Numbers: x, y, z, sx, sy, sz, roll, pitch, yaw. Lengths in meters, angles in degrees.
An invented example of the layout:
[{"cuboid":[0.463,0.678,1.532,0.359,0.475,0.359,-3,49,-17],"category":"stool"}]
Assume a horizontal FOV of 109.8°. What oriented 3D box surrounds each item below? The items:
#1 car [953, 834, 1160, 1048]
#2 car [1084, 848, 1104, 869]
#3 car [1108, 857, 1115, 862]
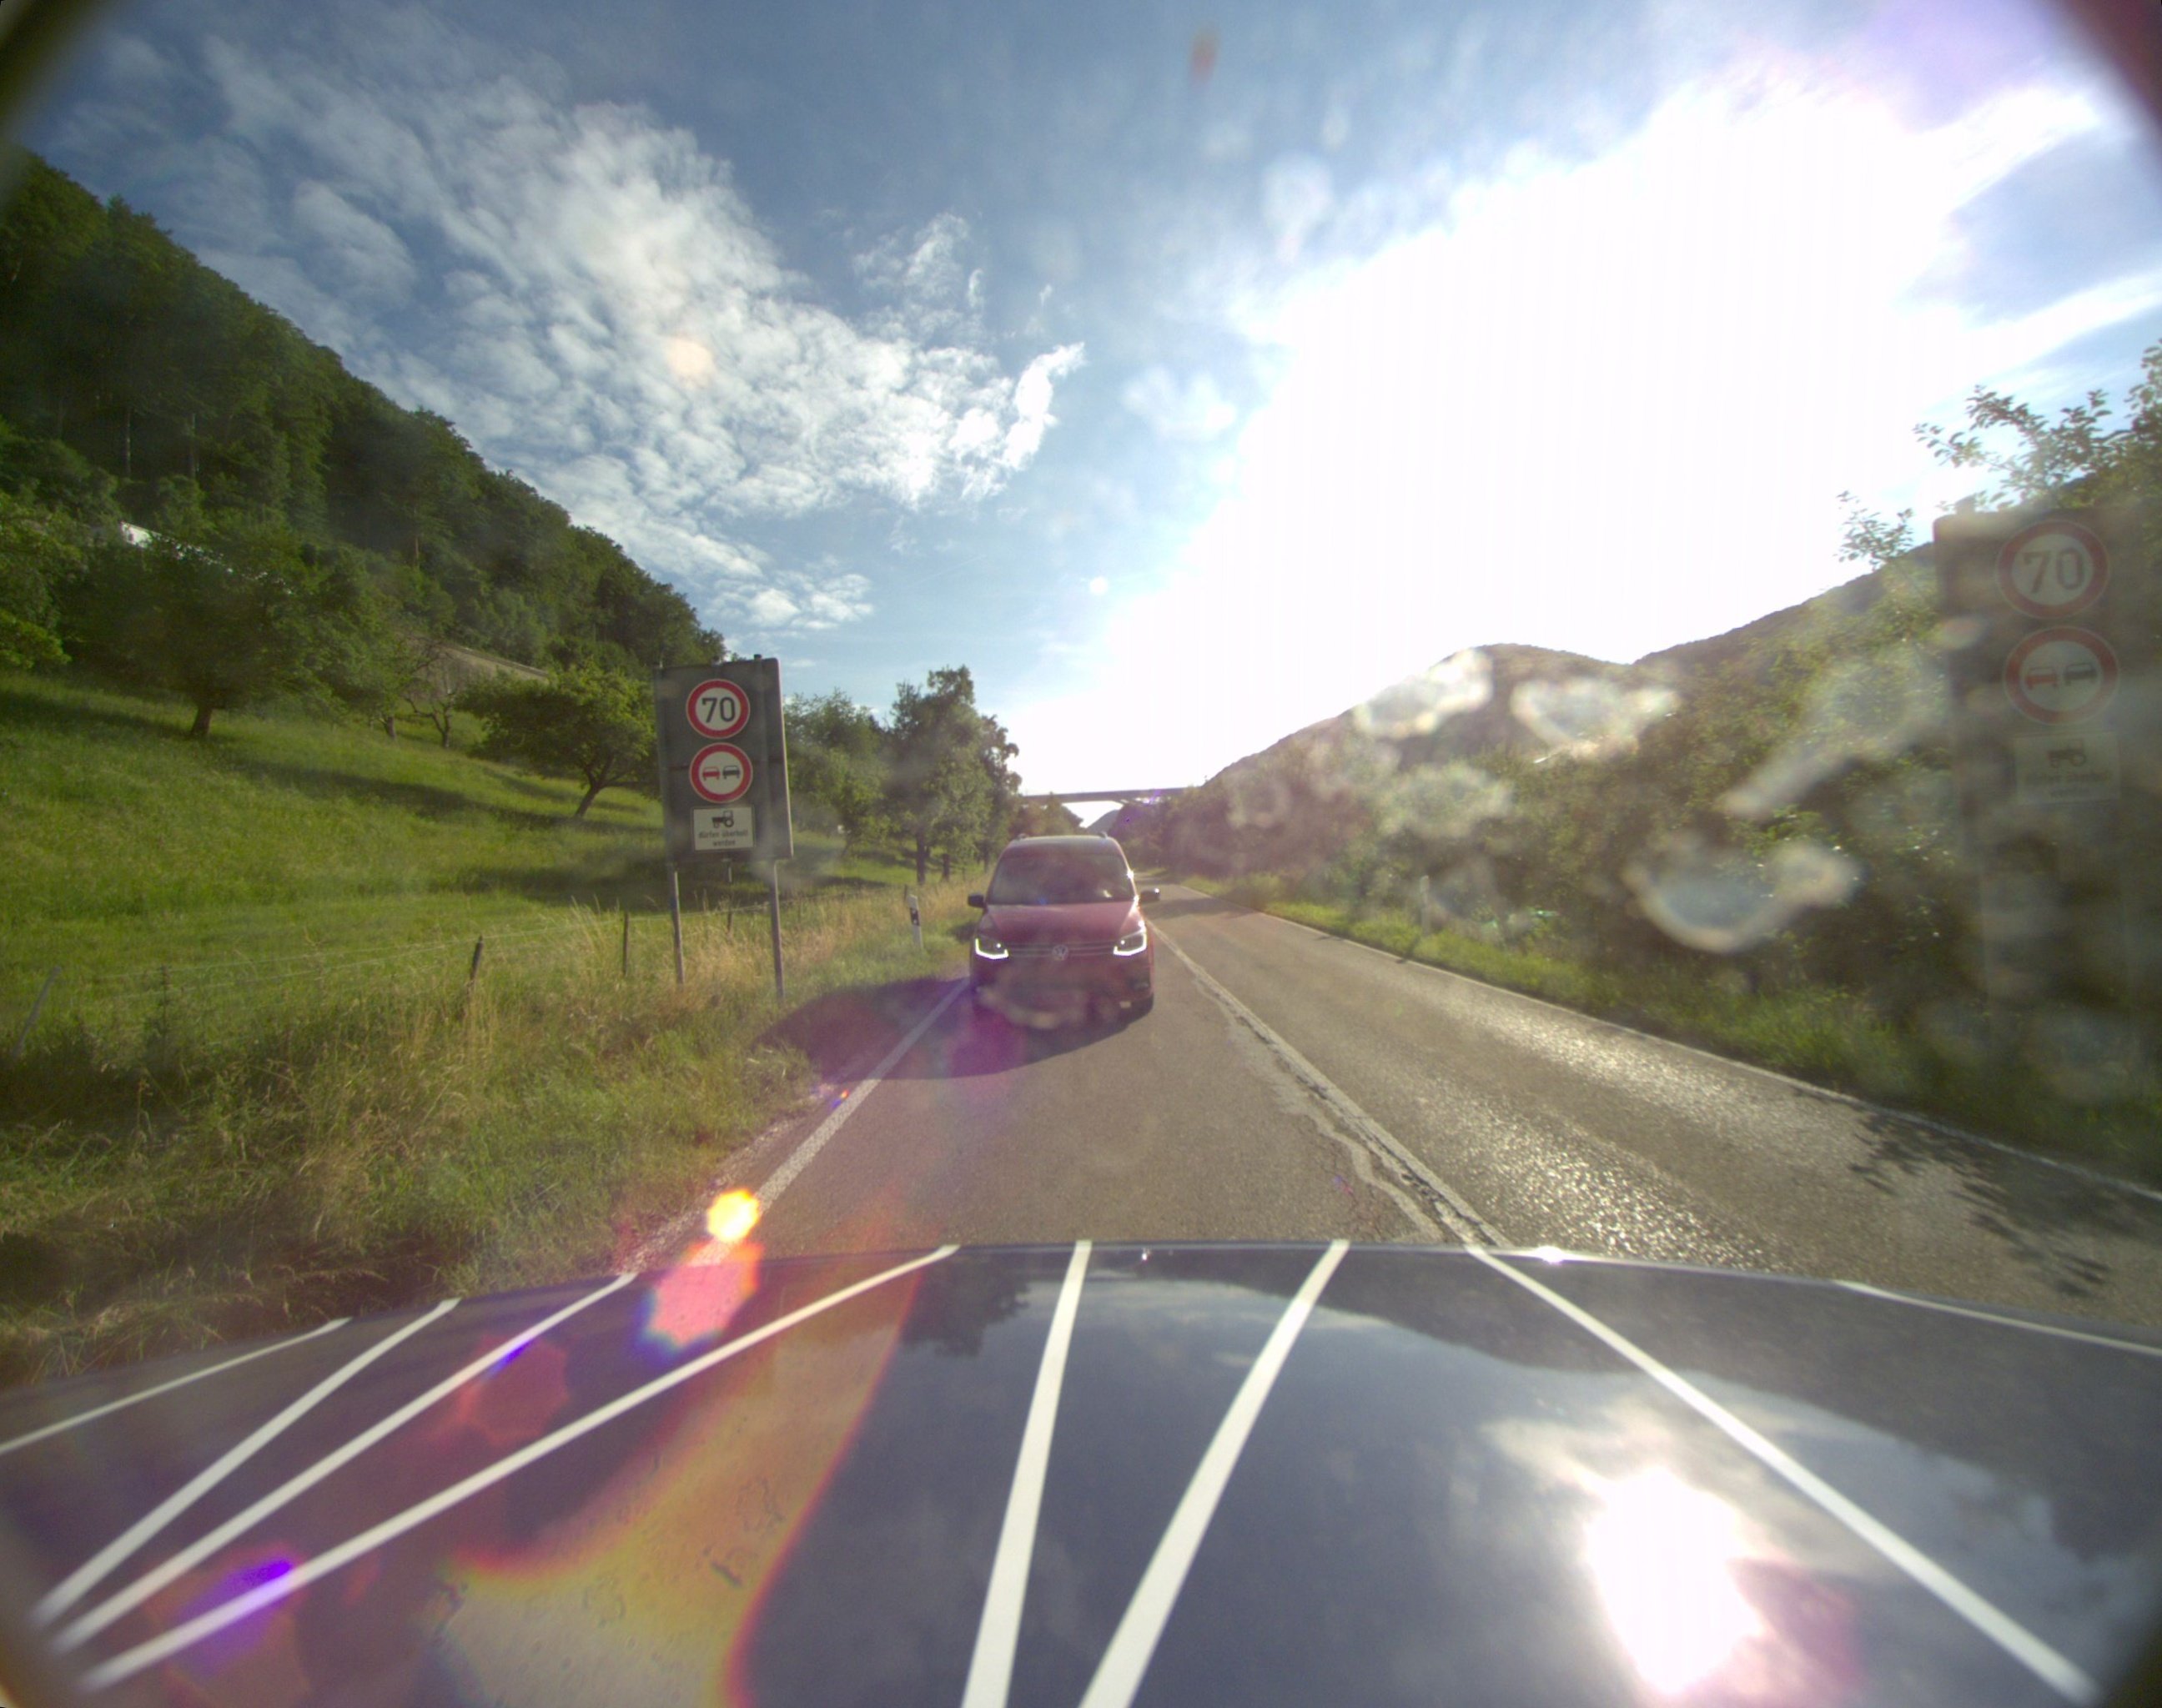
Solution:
[{"cuboid":[-0.233,0.752,8.523,1.741,1.803,4.000,-1,0,-1],"category":"car"},{"cuboid":[1.330,0.463,77.882,1.998,2.002,3.999,-2,1,1],"category":"car"},{"cuboid":[8.318,1.563,207.384,1.696,1.401,3.663,-1,0,1],"category":"car"}]
